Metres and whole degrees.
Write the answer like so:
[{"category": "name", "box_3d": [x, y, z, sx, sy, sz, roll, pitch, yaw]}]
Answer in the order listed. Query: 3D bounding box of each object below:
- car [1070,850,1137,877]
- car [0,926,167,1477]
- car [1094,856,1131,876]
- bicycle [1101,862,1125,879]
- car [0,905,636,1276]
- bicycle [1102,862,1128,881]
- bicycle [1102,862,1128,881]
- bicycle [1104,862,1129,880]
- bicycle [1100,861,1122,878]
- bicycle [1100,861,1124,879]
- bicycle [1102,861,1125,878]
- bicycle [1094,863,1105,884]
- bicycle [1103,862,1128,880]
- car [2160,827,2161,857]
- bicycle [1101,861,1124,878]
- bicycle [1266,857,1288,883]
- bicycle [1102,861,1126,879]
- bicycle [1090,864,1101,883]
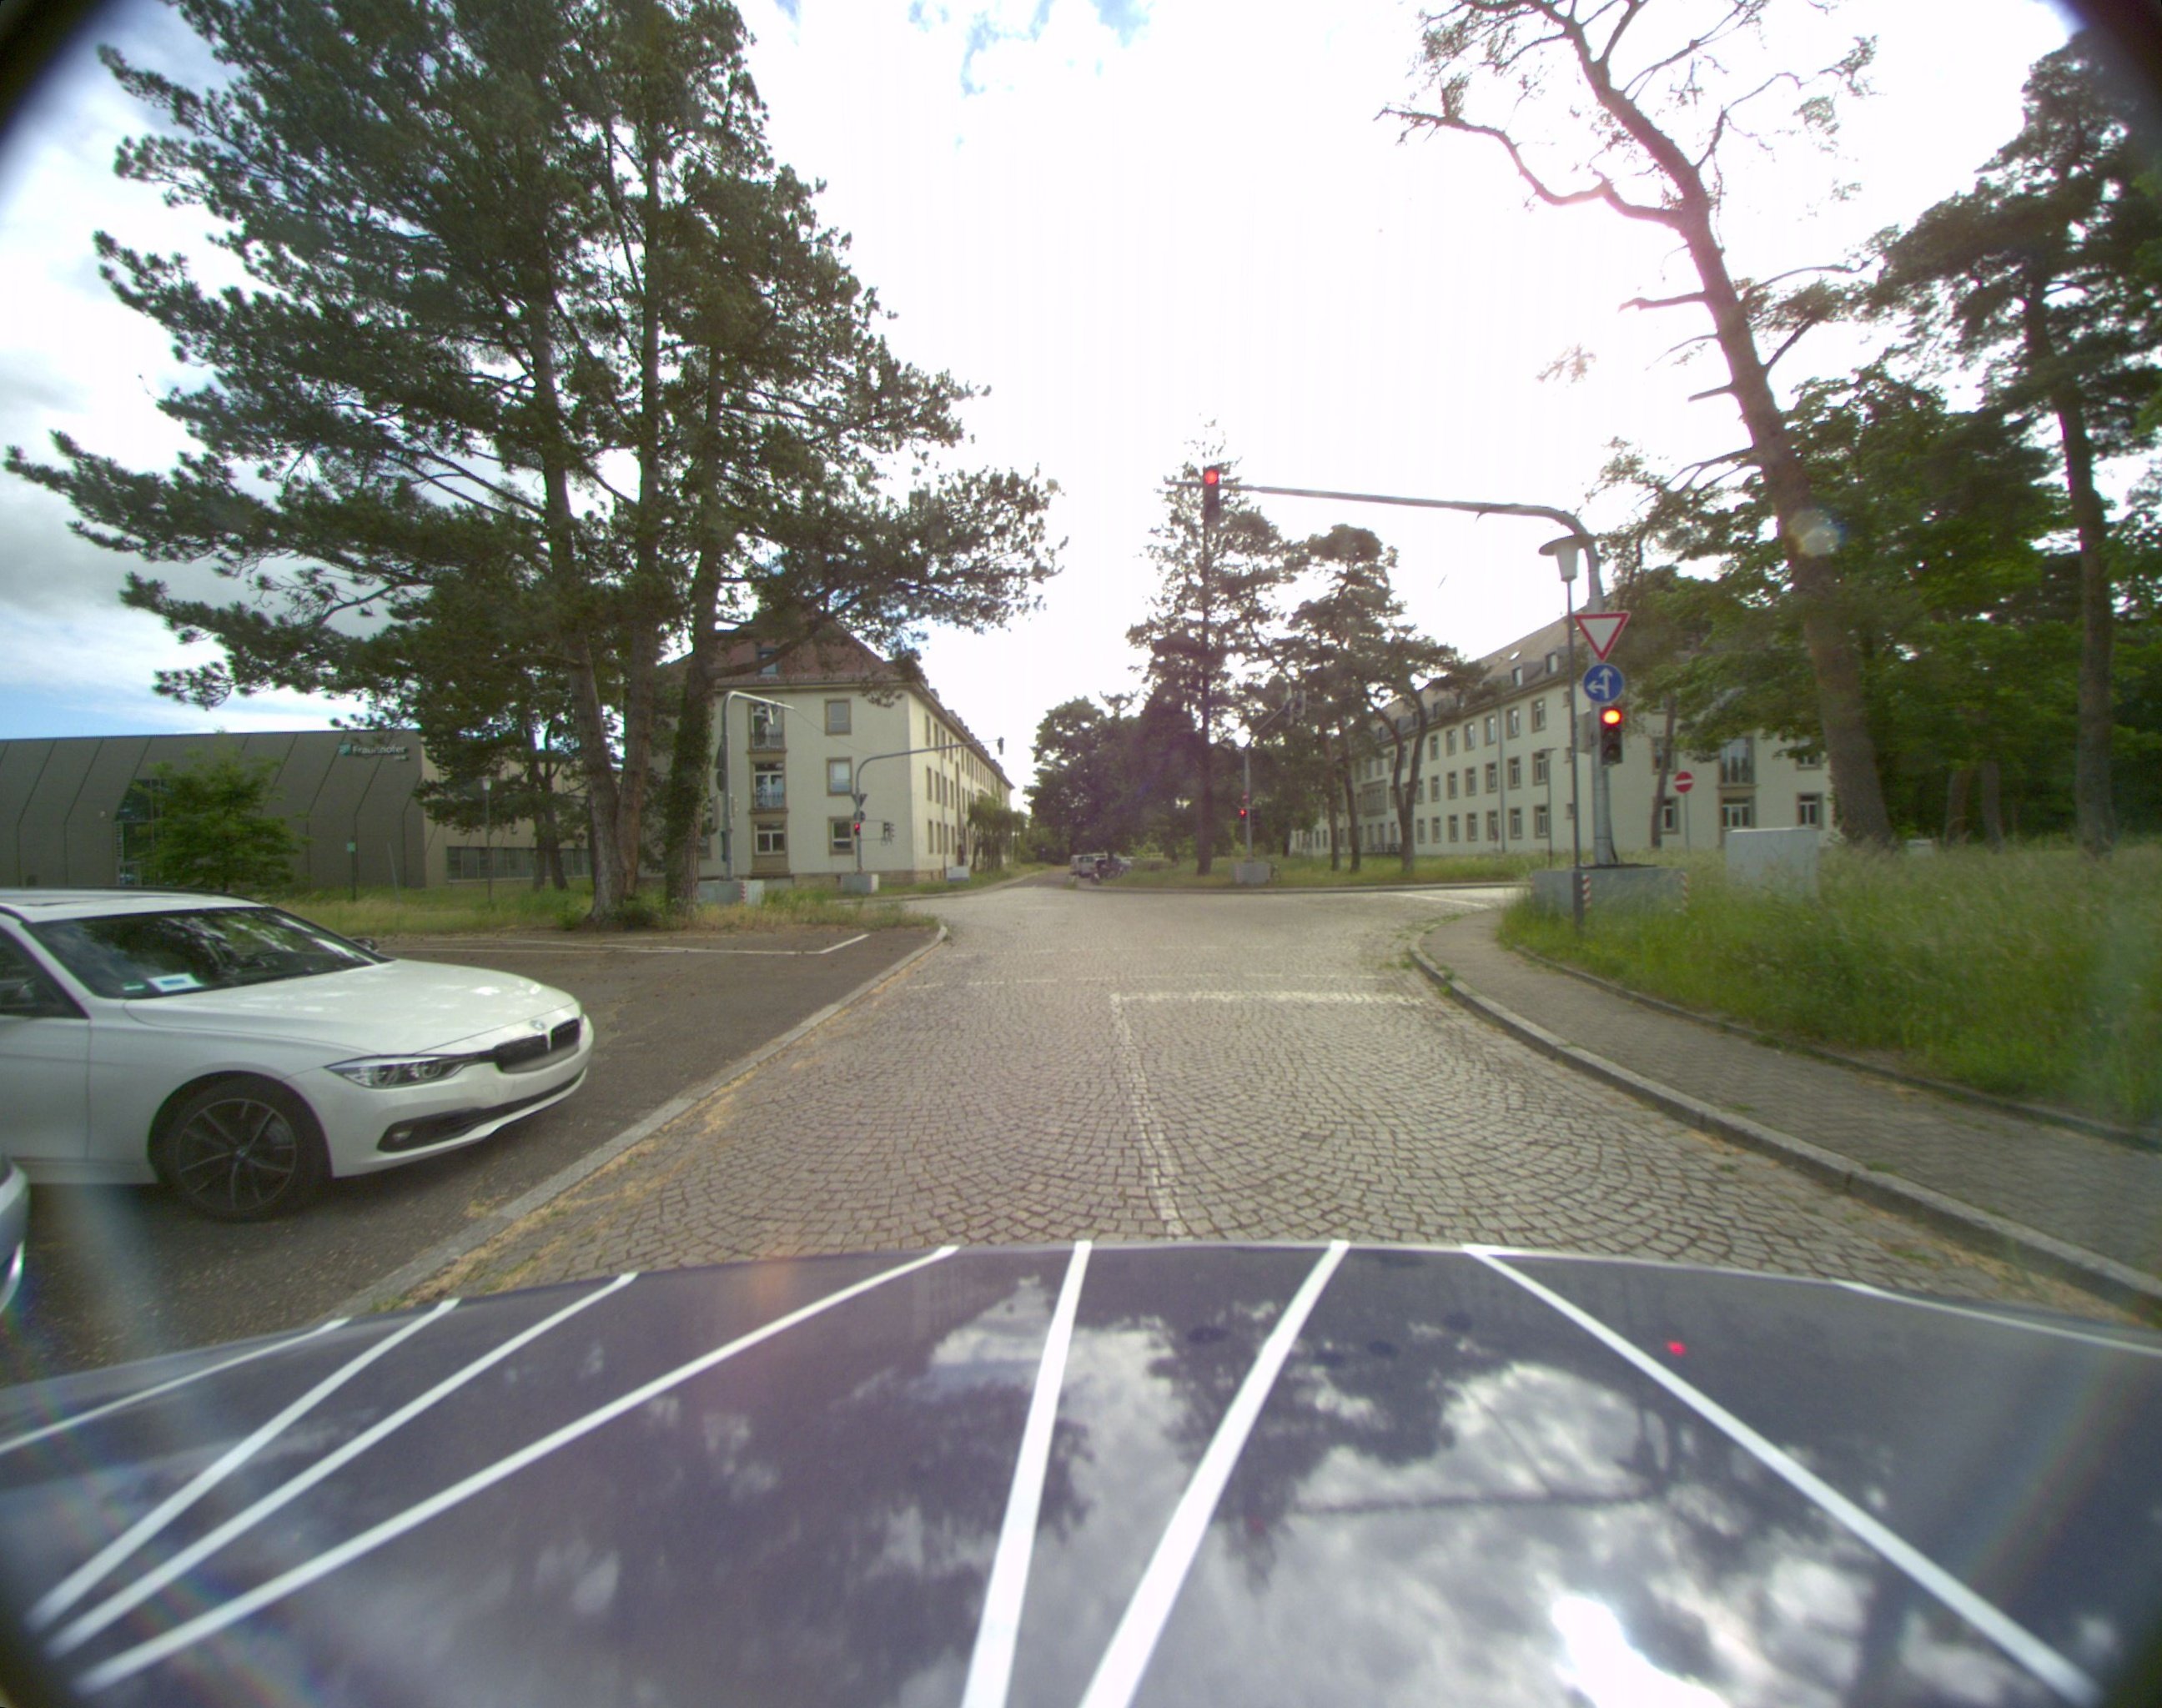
[{"category": "car", "box_3d": [1.880, 0.759, 63.886, 5.173, 1.905, 2.034, -4, 0, -13]}, {"category": "car", "box_3d": [-5.269, 1.006, 1.541, 4.342, 1.565, 1.826, 1, 1, -5]}, {"category": "car", "box_3d": [2.463, 0.968, 60.551, 2.771, 1.407, 1.592, -4, 0, -1]}, {"category": "bicycle", "box_3d": [2.098, 1.063, 49.354, 1.457, 1.032, 0.497, -4, 1, -5]}, {"category": "car", "box_3d": [-5.255, 1.078, 4.119, 4.562, 1.417, 1.826, 1, 1, -3]}, {"category": "bicycle", "box_3d": [2.043, 1.046, 45.780, 1.457, 1.032, 0.497, -4, 1, -8]}, {"category": "bicycle", "box_3d": [2.104, 1.057, 46.576, 1.457, 1.032, 0.497, -4, 1, -5]}, {"category": "bicycle", "box_3d": [2.231, 1.057, 47.611, 1.457, 1.032, 0.497, -4, 1, -5]}, {"category": "bicycle", "box_3d": [2.069, 1.056, 52.492, 1.457, 1.032, 0.497, -4, 1, -5]}, {"category": "bicycle", "box_3d": [2.053, 1.051, 49.846, 1.457, 1.032, 0.497, -4, 1, -5]}, {"category": "bicycle", "box_3d": [2.156, 1.045, 50.479, 1.457, 1.032, 0.497, -4, 1, -5]}, {"category": "bicycle", "box_3d": [1.045, 1.086, 42.781, 0.497, 1.068, 1.416, -4, 1, -1]}, {"category": "bicycle", "box_3d": [2.201, 1.050, 48.195, 1.457, 1.032, 0.497, -4, 1, -5]}, {"category": "car", "box_3d": [58.973, -0.686, 39.155, 4.053, 1.601, 1.717, -2, 2, 4]}, {"category": "bicycle", "box_3d": [2.125, 1.051, 52.017, 1.457, 1.032, 0.497, -4, 1, -5]}, {"category": "bicycle", "box_3d": [8.632, 0.687, 33.478, 0.497, 1.068, 1.416, -4, 1, -3]}, {"category": "bicycle", "box_3d": [2.130, 1.035, 48.886, 1.457, 1.032, 0.497, -4, 1, -5]}, {"category": "bicycle", "box_3d": [0.858, 1.117, 44.385, 0.497, 1.032, 1.416, -4, 1, -1]}]
